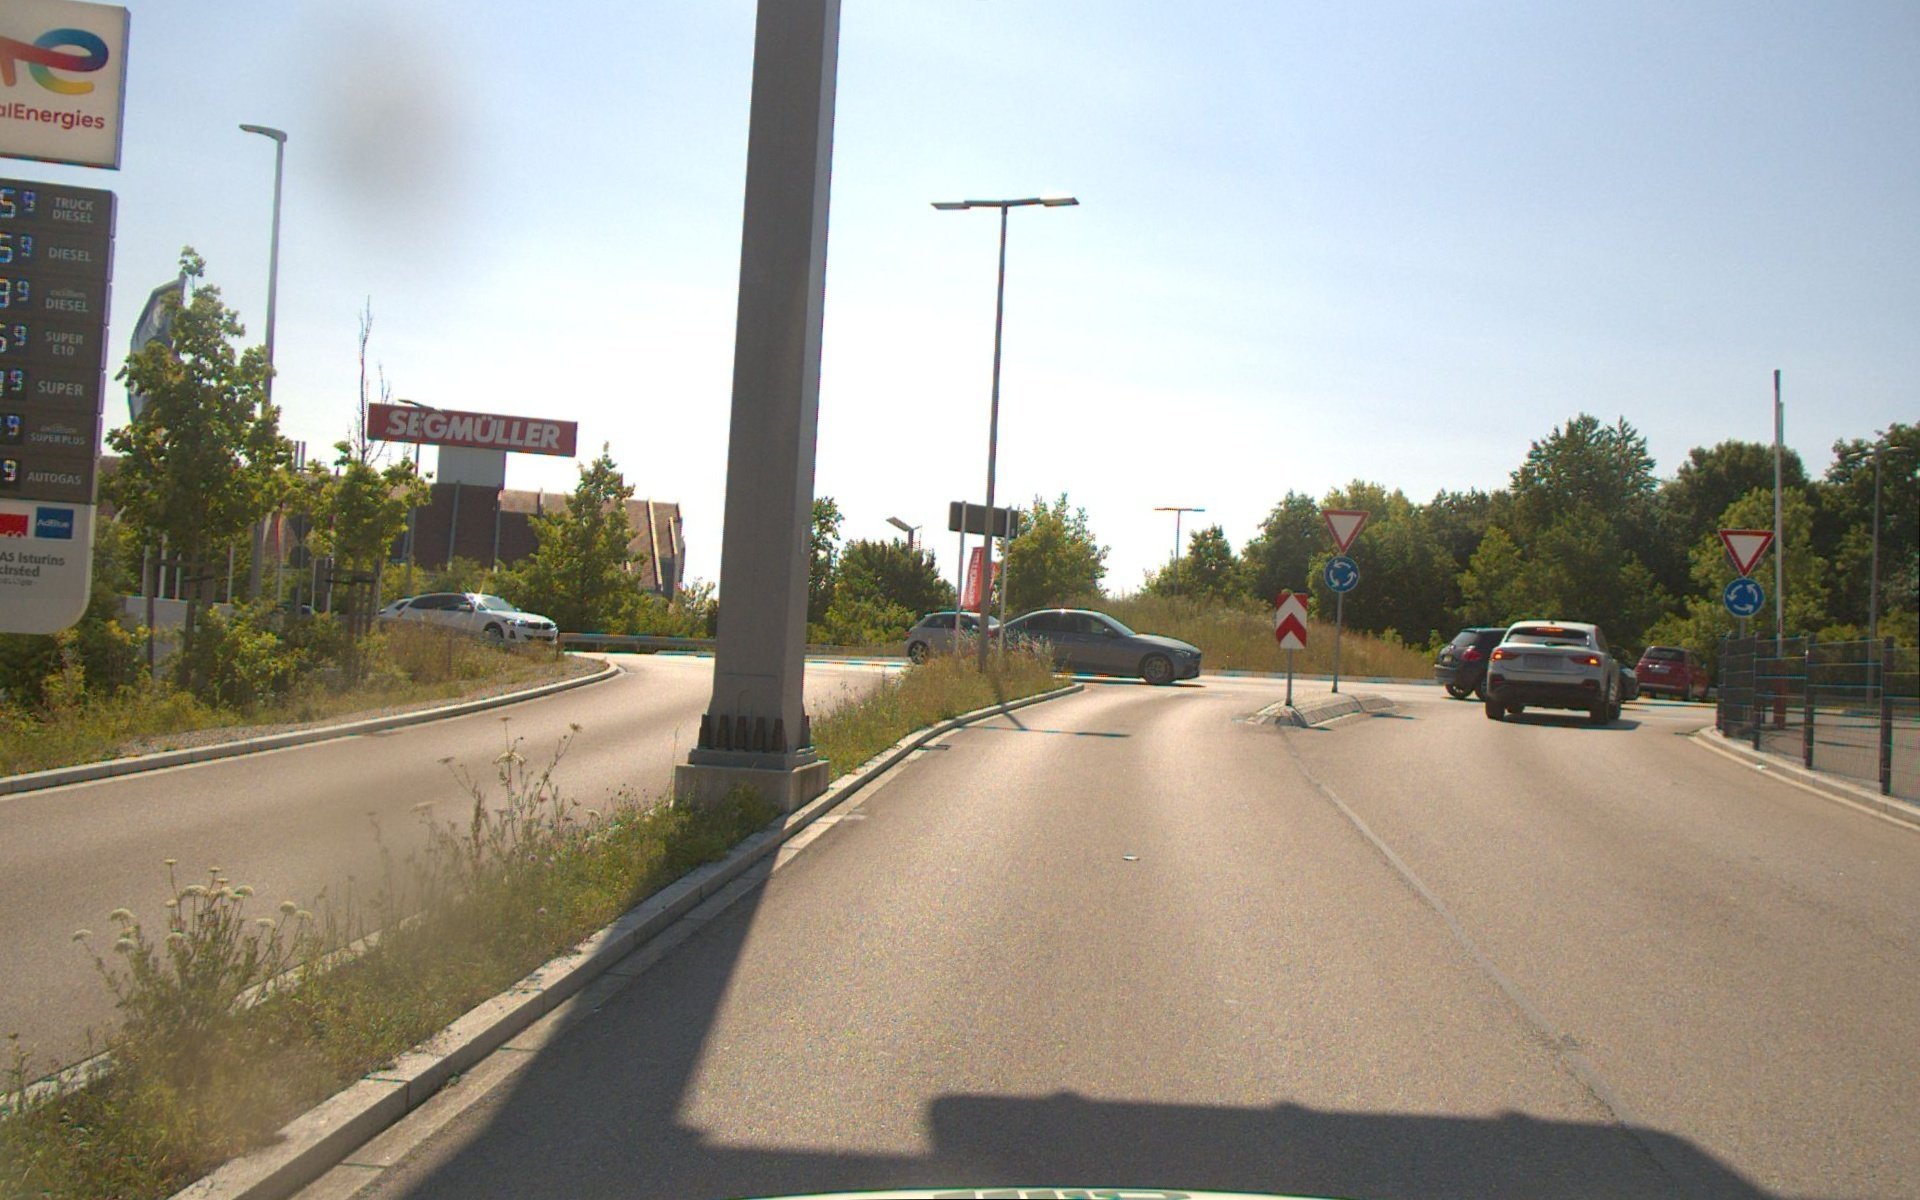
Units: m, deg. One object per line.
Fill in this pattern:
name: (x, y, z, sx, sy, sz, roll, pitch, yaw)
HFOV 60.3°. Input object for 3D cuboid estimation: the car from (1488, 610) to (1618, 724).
car: (9.694, 1.063, 26.964, 1.803, 1.624, 4.325, 2, -1, 21)

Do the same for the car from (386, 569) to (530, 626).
car: (-15.882, -0.065, 52.530, 4.201, 1.557, 1.785, 3, -1, -14)

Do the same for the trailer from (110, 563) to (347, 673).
trailer: (-12.772, 0.318, 28.886, 3.643, 1.803, 1.791, 2, 0, -29)

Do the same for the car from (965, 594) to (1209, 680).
car: (2.701, 0.763, 34.809, 4.755, 1.477, 2.001, 3, -1, 15)

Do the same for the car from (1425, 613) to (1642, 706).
car: (11.920, 1.223, 34.546, 3.867, 1.646, 1.819, 3, -1, 3)

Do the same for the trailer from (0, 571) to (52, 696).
trailer: (-13.271, 0.233, 20.212, 3.644, 1.476, 1.692, 7, -2, -29)

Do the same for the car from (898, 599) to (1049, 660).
car: (0.352, 0.786, 44.070, 3.687, 1.375, 1.528, 3, -1, 30)

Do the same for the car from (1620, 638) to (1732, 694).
car: (20.744, 1.927, 47.848, 3.787, 1.429, 1.601, 4, -1, -44)

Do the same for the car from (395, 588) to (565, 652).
car: (-12.290, 0.515, 42.320, 4.245, 1.375, 1.570, 3, -1, 28)

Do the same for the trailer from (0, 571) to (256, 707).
trailer: (-12.613, 0.578, 24.706, 3.643, 1.803, 1.791, 4, -1, -29)
